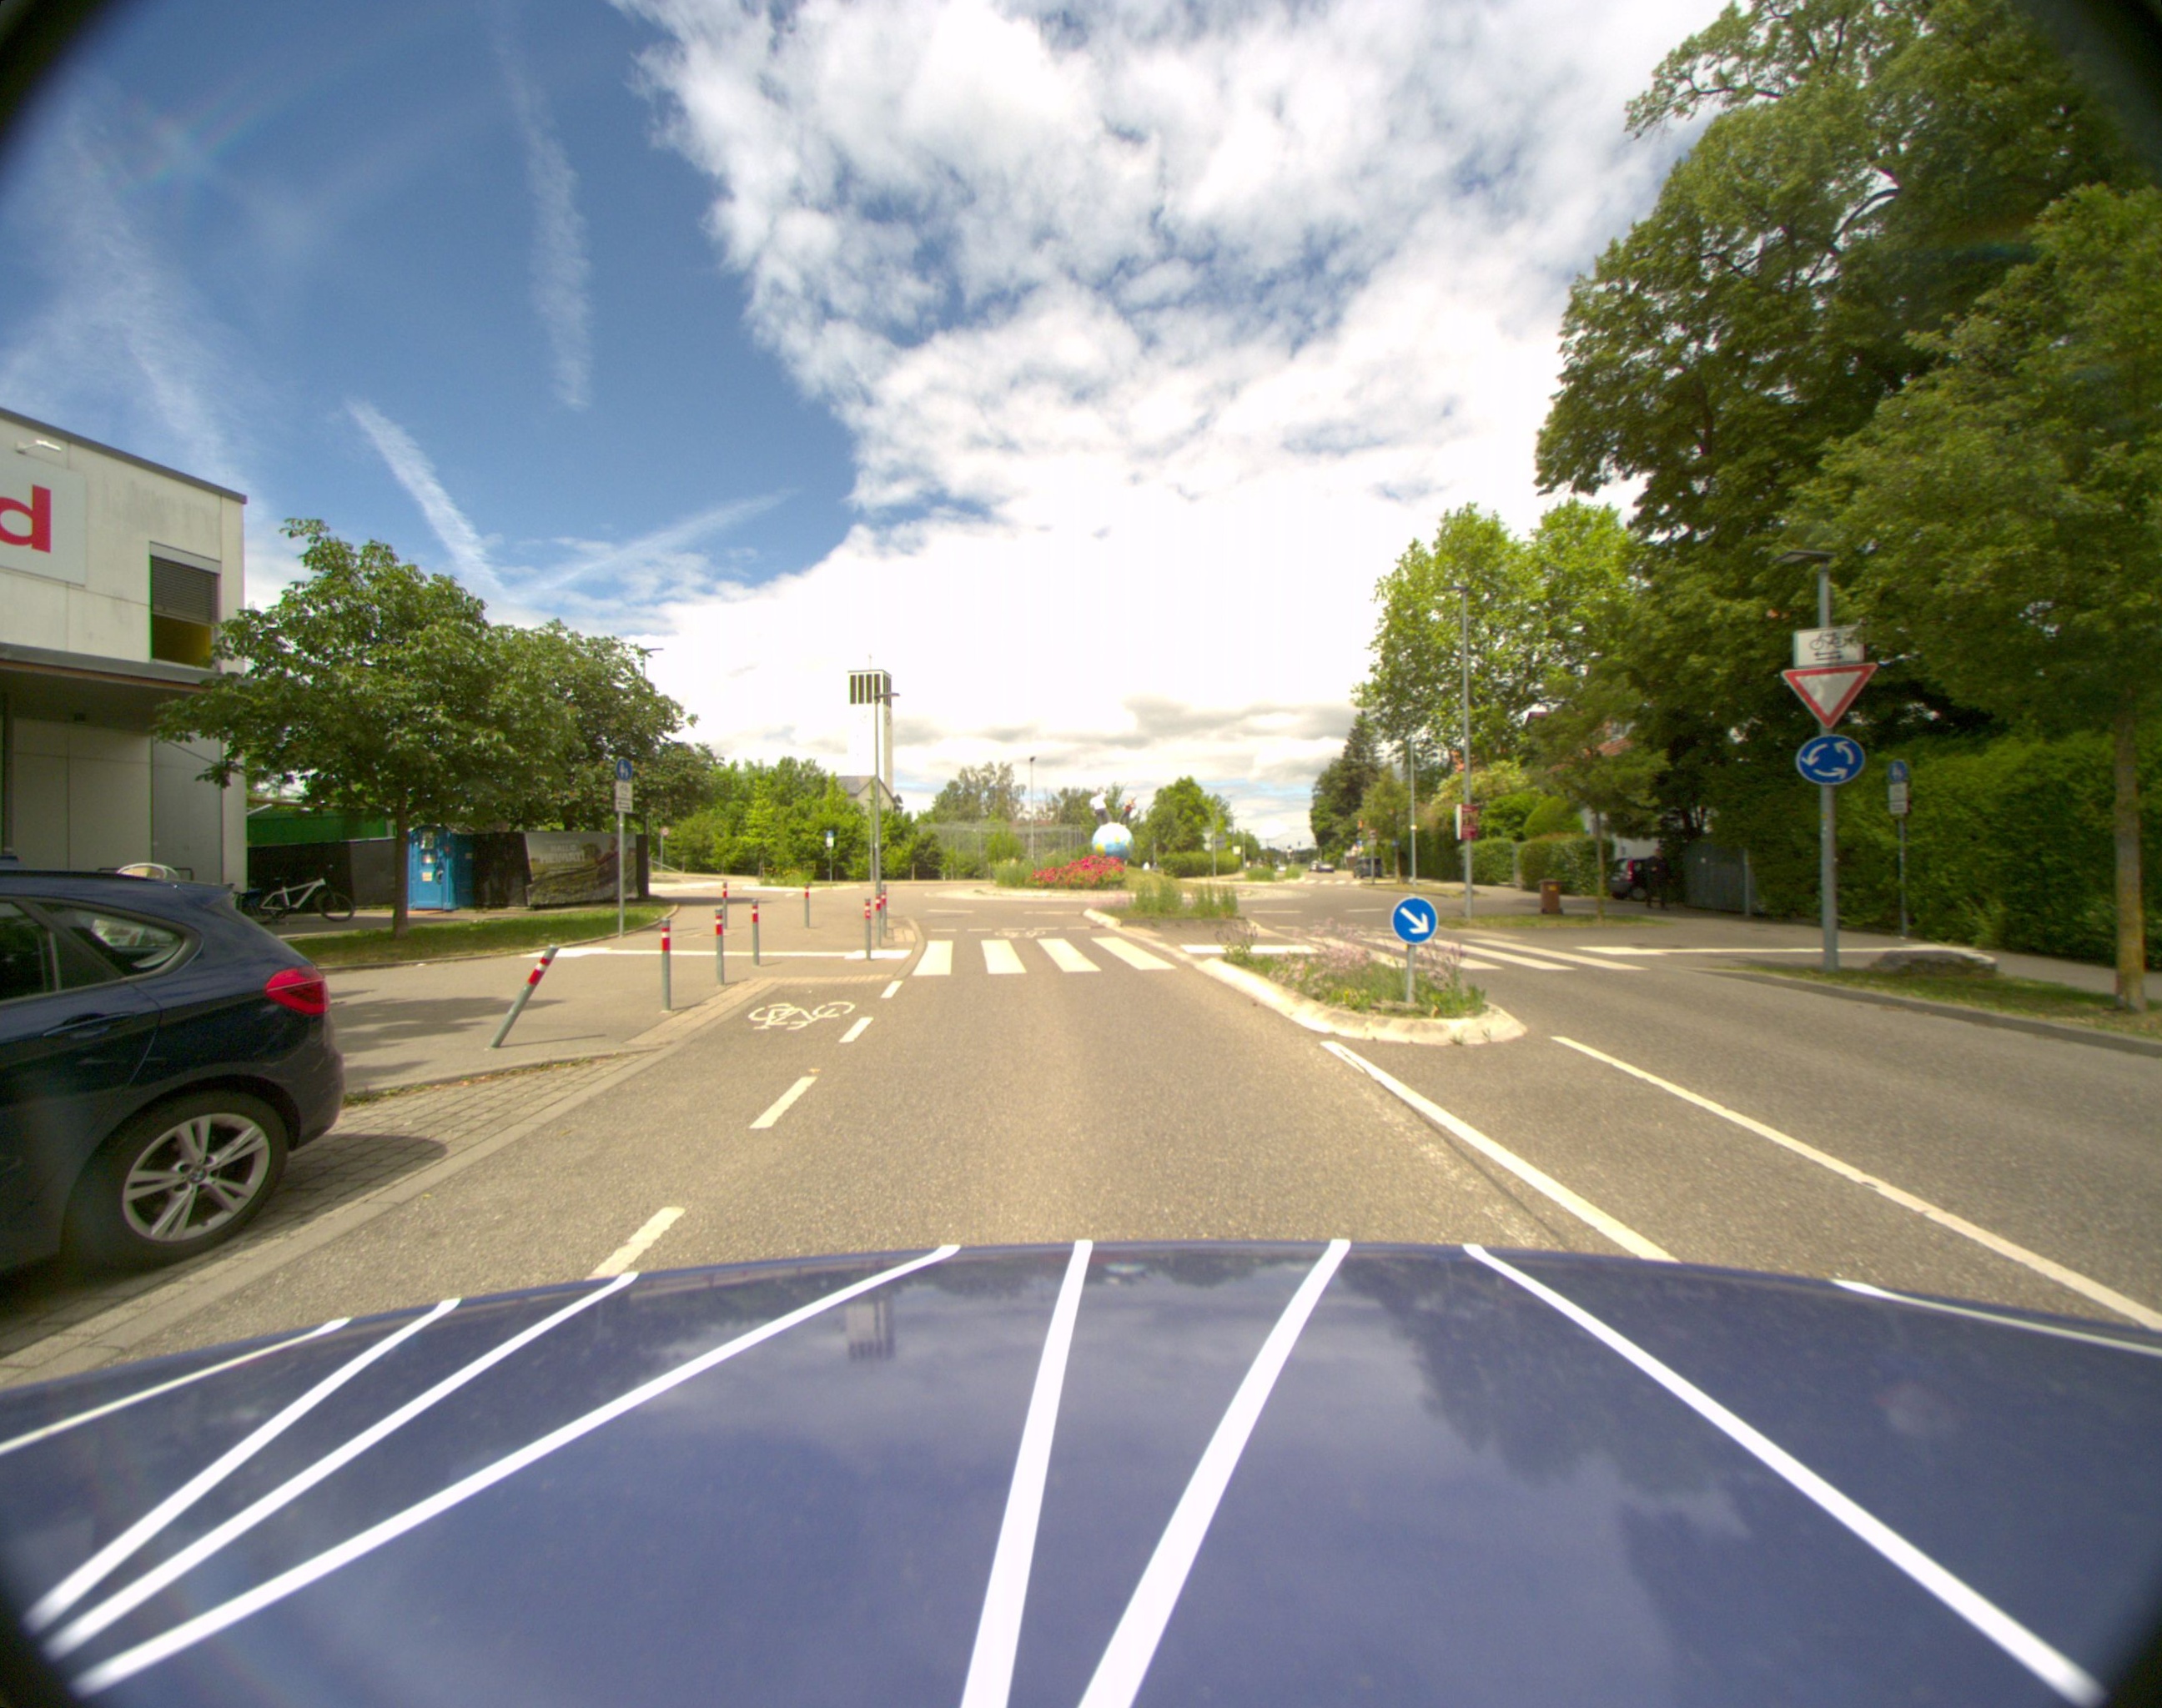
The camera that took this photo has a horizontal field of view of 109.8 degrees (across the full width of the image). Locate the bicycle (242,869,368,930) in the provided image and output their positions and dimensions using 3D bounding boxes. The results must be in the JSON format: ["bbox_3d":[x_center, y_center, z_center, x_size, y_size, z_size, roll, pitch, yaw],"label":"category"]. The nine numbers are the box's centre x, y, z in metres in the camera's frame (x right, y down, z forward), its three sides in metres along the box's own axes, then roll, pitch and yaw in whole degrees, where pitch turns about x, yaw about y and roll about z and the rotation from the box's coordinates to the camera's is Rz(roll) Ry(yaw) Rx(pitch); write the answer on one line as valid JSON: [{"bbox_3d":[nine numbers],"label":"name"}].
[{"bbox_3d":[-17.026,0.971,16.729,1.774,1.227,0.714,-2,1,-19],"label":"bicycle"}]

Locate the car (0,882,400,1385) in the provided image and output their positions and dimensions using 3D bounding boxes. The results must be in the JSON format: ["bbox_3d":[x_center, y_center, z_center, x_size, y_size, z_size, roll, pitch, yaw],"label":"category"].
[{"bbox_3d":[-4.546,0.950,1.673,1.921,1.569,4.431,0,0,4],"label":"car"}]

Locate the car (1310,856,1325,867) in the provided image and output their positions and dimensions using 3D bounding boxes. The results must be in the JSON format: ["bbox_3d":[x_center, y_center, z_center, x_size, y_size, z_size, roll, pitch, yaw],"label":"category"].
[{"bbox_3d":[39.863,1.263,128.255,1.997,1.696,4.003,0,0,10],"label":"car"}]

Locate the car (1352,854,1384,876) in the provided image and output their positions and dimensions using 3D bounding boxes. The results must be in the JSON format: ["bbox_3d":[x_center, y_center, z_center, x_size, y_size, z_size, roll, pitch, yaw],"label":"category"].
[{"bbox_3d":[22.686,0.869,60.091,1.679,1.652,4.003,0,0,11],"label":"car"}]

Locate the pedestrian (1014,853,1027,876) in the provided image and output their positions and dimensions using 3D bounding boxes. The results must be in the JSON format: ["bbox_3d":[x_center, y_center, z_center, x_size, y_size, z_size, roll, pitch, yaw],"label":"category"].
[{"bbox_3d":[-4.010,0.695,50.252,0.457,1.524,0.965,-1,0,22],"label":"pedestrian"}]

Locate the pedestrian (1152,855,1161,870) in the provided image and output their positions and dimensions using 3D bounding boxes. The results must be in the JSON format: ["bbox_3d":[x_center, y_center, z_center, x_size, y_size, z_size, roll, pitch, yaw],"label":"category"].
[{"bbox_3d":[8.042,0.893,80.546,0.765,1.548,0.601,0,1,-18],"label":"pedestrian"}]

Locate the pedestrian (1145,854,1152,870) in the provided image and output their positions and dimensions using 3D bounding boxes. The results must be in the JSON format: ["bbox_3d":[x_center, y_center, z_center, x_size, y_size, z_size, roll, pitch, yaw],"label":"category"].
[{"bbox_3d":[7.163,0.824,80.350,0.608,1.687,0.566,0,1,-7],"label":"pedestrian"}]

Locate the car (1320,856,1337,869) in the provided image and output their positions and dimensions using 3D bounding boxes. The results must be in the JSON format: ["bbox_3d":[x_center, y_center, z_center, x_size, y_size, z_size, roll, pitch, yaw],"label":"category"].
[{"bbox_3d":[31.923,1.131,98.128,1.860,1.568,4.004,-1,0,15],"label":"car"}]

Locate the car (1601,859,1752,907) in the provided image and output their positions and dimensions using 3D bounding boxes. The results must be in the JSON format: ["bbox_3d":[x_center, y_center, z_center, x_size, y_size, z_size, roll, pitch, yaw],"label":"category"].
[{"bbox_3d":[19.895,0.939,25.538,3.571,1.389,1.667,2,1,15],"label":"car"}]

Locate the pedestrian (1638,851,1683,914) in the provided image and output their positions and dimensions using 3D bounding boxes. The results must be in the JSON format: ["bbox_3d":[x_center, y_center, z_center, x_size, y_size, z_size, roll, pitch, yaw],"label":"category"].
[{"bbox_3d":[15.862,0.762,20.811,0.745,1.681,0.695,-1,1,16],"label":"pedestrian"}]

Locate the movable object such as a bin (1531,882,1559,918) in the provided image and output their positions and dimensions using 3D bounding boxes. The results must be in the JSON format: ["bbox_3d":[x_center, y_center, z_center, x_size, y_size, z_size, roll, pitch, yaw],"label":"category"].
[{"bbox_3d":[12.063,1.192,19.751,0.441,0.929,0.411,0,1,-14],"label":"movable object such as a bin"}]
